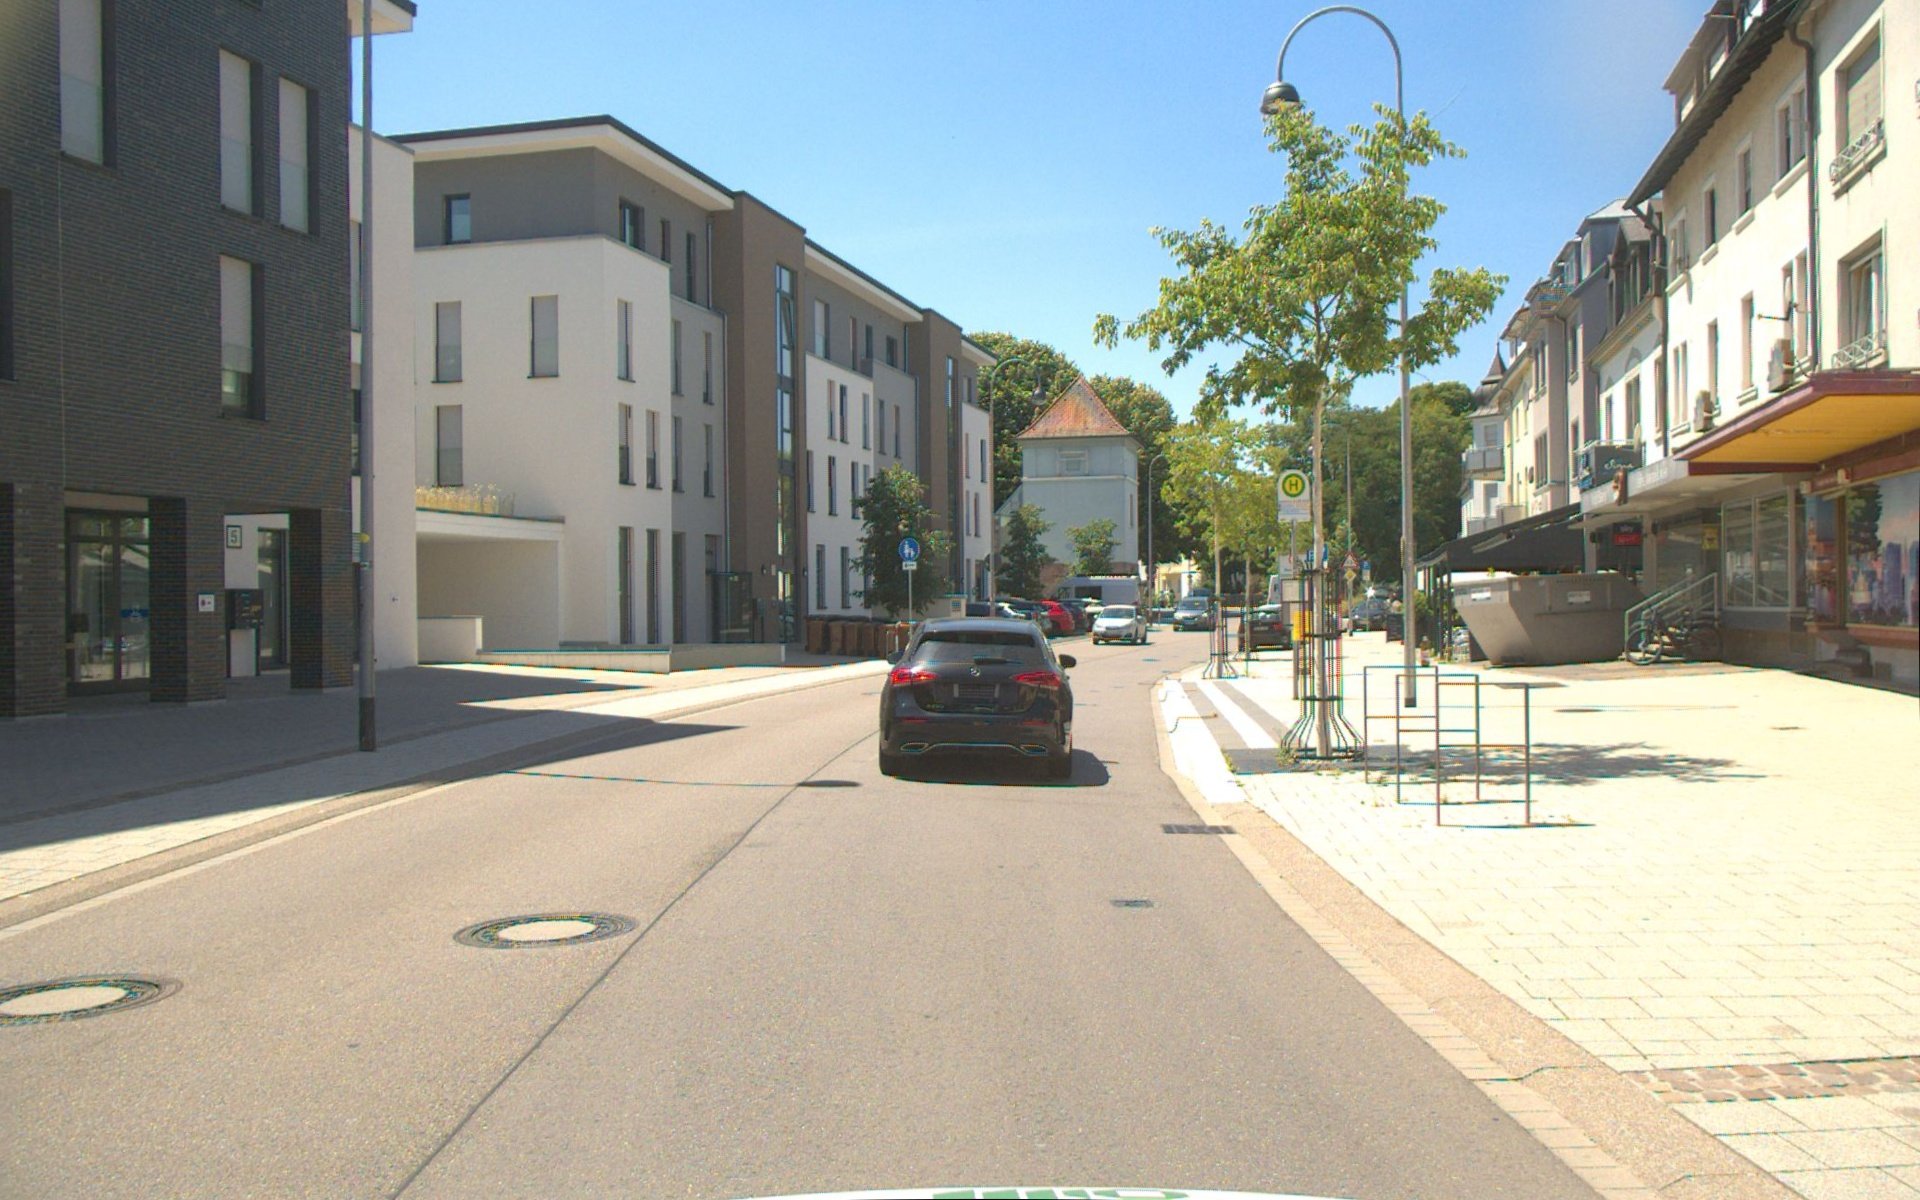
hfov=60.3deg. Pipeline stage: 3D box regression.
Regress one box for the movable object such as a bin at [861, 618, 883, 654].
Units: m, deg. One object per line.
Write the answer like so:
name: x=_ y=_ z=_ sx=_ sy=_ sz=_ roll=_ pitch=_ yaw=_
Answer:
movable object such as a bin: x=-2.506 y=1.035 z=47.164 sx=0.472 sy=1.015 sz=0.588 roll=0 pitch=0 yaw=14

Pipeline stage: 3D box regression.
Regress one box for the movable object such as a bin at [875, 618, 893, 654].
movable object such as a bin: x=-2.190 y=1.039 z=47.662 sx=0.394 sy=1.015 sz=0.556 roll=0 pitch=0 yaw=13

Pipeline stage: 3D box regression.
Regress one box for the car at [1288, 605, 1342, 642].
car: x=14.820 y=0.945 z=68.908 sx=1.688 sy=1.430 sz=4.611 roll=-2 pitch=0 yaw=18

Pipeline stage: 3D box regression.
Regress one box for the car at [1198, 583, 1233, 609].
car: x=17.595 y=-0.276 z=113.662 sx=1.773 sy=1.731 sz=4.078 roll=0 pitch=0 yaw=18

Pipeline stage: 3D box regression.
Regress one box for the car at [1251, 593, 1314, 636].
car: x=12.292 y=0.532 z=62.890 sx=1.701 sy=1.512 sz=4.055 roll=-3 pitch=-1 yaw=20

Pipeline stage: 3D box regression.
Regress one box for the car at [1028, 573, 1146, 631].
car: x=6.471 y=0.086 z=84.126 sx=5.645 sy=2.780 sz=2.293 roll=1 pitch=0 yaw=16

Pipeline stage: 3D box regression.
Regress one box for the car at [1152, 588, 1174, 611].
car: x=18.790 y=-0.074 z=152.953 sx=1.951 sy=2.049 sz=4.003 roll=1 pitch=-1 yaw=6

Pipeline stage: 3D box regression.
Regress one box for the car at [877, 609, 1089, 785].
car: x=0.202 y=0.845 z=16.245 sx=1.790 sy=1.467 sz=4.000 roll=2 pitch=0 yaw=0

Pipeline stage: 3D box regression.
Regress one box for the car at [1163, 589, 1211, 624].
car: x=11.356 y=0.325 z=82.439 sx=1.901 sy=1.687 sz=4.239 roll=1 pitch=0 yaw=14

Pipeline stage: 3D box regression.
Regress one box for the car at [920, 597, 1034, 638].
car: x=0.654 y=0.652 z=62.336 sx=3.902 sy=1.446 sz=1.911 roll=1 pitch=0 yaw=15

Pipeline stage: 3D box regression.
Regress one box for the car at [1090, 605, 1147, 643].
car: x=6.033 y=0.890 z=62.703 sx=1.631 sy=1.420 sz=3.850 roll=0 pitch=0 yaw=13

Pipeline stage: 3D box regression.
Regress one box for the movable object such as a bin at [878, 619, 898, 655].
movable object such as a bin: x=-2.042 y=1.044 z=46.869 sx=0.472 sy=1.015 sz=0.588 roll=0 pitch=0 yaw=7

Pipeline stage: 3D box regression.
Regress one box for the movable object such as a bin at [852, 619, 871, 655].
movable object such as a bin: x=-2.849 y=1.058 z=47.678 sx=0.394 sy=1.015 sz=0.556 roll=0 pitch=0 yaw=13

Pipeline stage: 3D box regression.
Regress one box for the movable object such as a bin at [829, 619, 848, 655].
movable object such as a bin: x=-3.482 y=1.064 z=47.596 sx=0.394 sy=1.015 sz=0.556 roll=0 pitch=0 yaw=13

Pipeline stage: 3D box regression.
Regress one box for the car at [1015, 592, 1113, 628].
car: x=5.023 y=0.457 z=79.522 sx=4.359 sy=1.619 sz=2.001 roll=1 pitch=0 yaw=15

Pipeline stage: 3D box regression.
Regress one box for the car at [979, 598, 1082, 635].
car: x=2.979 y=0.683 z=69.850 sx=3.947 sy=1.455 sz=2.001 roll=1 pitch=0 yaw=17

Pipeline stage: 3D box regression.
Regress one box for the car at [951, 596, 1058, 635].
car: x=1.836 y=0.617 z=67.545 sx=3.947 sy=1.523 sz=2.001 roll=1 pitch=0 yaw=17

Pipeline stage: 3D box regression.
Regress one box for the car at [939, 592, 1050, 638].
car: x=1.376 y=0.571 z=64.754 sx=3.947 sy=1.680 sz=2.001 roll=1 pitch=0 yaw=17

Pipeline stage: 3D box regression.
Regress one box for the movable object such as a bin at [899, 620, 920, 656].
movable object such as a bin: x=-1.447 y=1.087 z=47.523 sx=0.472 sy=1.015 sz=0.588 roll=0 pitch=0 yaw=13

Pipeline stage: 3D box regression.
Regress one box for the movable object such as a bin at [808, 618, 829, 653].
movable object such as a bin: x=-4.090 y=1.021 z=47.736 sx=0.472 sy=1.015 sz=0.588 roll=0 pitch=0 yaw=7

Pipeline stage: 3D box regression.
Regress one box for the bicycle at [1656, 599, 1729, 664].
bicycle: x=13.976 y=0.597 z=31.572 sx=1.244 sy=1.204 sz=0.415 roll=1 pitch=-1 yaw=23

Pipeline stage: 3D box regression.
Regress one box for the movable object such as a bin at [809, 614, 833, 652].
movable object such as a bin: x=-4.139 y=0.979 z=49.347 sx=0.678 sy=1.115 sz=0.647 roll=0 pitch=0 yaw=-3

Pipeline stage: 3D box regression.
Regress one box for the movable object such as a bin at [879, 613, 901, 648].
movable object such as a bin: x=-2.108 y=0.927 z=49.952 sx=0.542 sy=1.038 sz=0.561 roll=0 pitch=0 yaw=10

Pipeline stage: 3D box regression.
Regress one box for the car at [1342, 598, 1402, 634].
car: x=19.733 y=0.769 z=79.118 sx=1.836 sy=1.517 sz=3.857 roll=-2 pitch=1 yaw=28

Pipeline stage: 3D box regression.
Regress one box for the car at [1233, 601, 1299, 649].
car: x=10.547 y=0.855 z=56.776 sx=1.794 sy=1.508 sz=4.098 roll=-3 pitch=-1 yaw=16

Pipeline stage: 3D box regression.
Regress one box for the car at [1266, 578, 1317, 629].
car: x=18.981 y=0.152 z=94.524 sx=2.083 sy=2.675 sz=5.280 roll=-2 pitch=1 yaw=19

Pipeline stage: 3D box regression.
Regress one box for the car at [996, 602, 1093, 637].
car: x=3.795 y=0.854 z=74.210 sx=4.110 sy=1.463 sz=1.887 roll=1 pitch=0 yaw=11

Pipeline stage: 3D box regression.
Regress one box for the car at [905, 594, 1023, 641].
car: x=0.166 y=0.603 z=60.223 sx=3.902 sy=1.541 sz=2.002 roll=1 pitch=2 yaw=15

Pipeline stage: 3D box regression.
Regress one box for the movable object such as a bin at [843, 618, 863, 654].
movable object such as a bin: x=-3.056 y=1.024 z=47.154 sx=0.415 sy=1.015 sz=0.524 roll=0 pitch=0 yaw=14

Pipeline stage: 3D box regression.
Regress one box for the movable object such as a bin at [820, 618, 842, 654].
movable object such as a bin: x=-3.660 y=1.012 z=47.003 sx=0.472 sy=1.015 sz=0.527 roll=0 pitch=0 yaw=13

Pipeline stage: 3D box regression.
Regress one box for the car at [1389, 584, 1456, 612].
car: x=29.528 y=-0.117 z=105.730 sx=3.988 sy=1.746 sz=1.858 roll=1 pitch=0 yaw=13
